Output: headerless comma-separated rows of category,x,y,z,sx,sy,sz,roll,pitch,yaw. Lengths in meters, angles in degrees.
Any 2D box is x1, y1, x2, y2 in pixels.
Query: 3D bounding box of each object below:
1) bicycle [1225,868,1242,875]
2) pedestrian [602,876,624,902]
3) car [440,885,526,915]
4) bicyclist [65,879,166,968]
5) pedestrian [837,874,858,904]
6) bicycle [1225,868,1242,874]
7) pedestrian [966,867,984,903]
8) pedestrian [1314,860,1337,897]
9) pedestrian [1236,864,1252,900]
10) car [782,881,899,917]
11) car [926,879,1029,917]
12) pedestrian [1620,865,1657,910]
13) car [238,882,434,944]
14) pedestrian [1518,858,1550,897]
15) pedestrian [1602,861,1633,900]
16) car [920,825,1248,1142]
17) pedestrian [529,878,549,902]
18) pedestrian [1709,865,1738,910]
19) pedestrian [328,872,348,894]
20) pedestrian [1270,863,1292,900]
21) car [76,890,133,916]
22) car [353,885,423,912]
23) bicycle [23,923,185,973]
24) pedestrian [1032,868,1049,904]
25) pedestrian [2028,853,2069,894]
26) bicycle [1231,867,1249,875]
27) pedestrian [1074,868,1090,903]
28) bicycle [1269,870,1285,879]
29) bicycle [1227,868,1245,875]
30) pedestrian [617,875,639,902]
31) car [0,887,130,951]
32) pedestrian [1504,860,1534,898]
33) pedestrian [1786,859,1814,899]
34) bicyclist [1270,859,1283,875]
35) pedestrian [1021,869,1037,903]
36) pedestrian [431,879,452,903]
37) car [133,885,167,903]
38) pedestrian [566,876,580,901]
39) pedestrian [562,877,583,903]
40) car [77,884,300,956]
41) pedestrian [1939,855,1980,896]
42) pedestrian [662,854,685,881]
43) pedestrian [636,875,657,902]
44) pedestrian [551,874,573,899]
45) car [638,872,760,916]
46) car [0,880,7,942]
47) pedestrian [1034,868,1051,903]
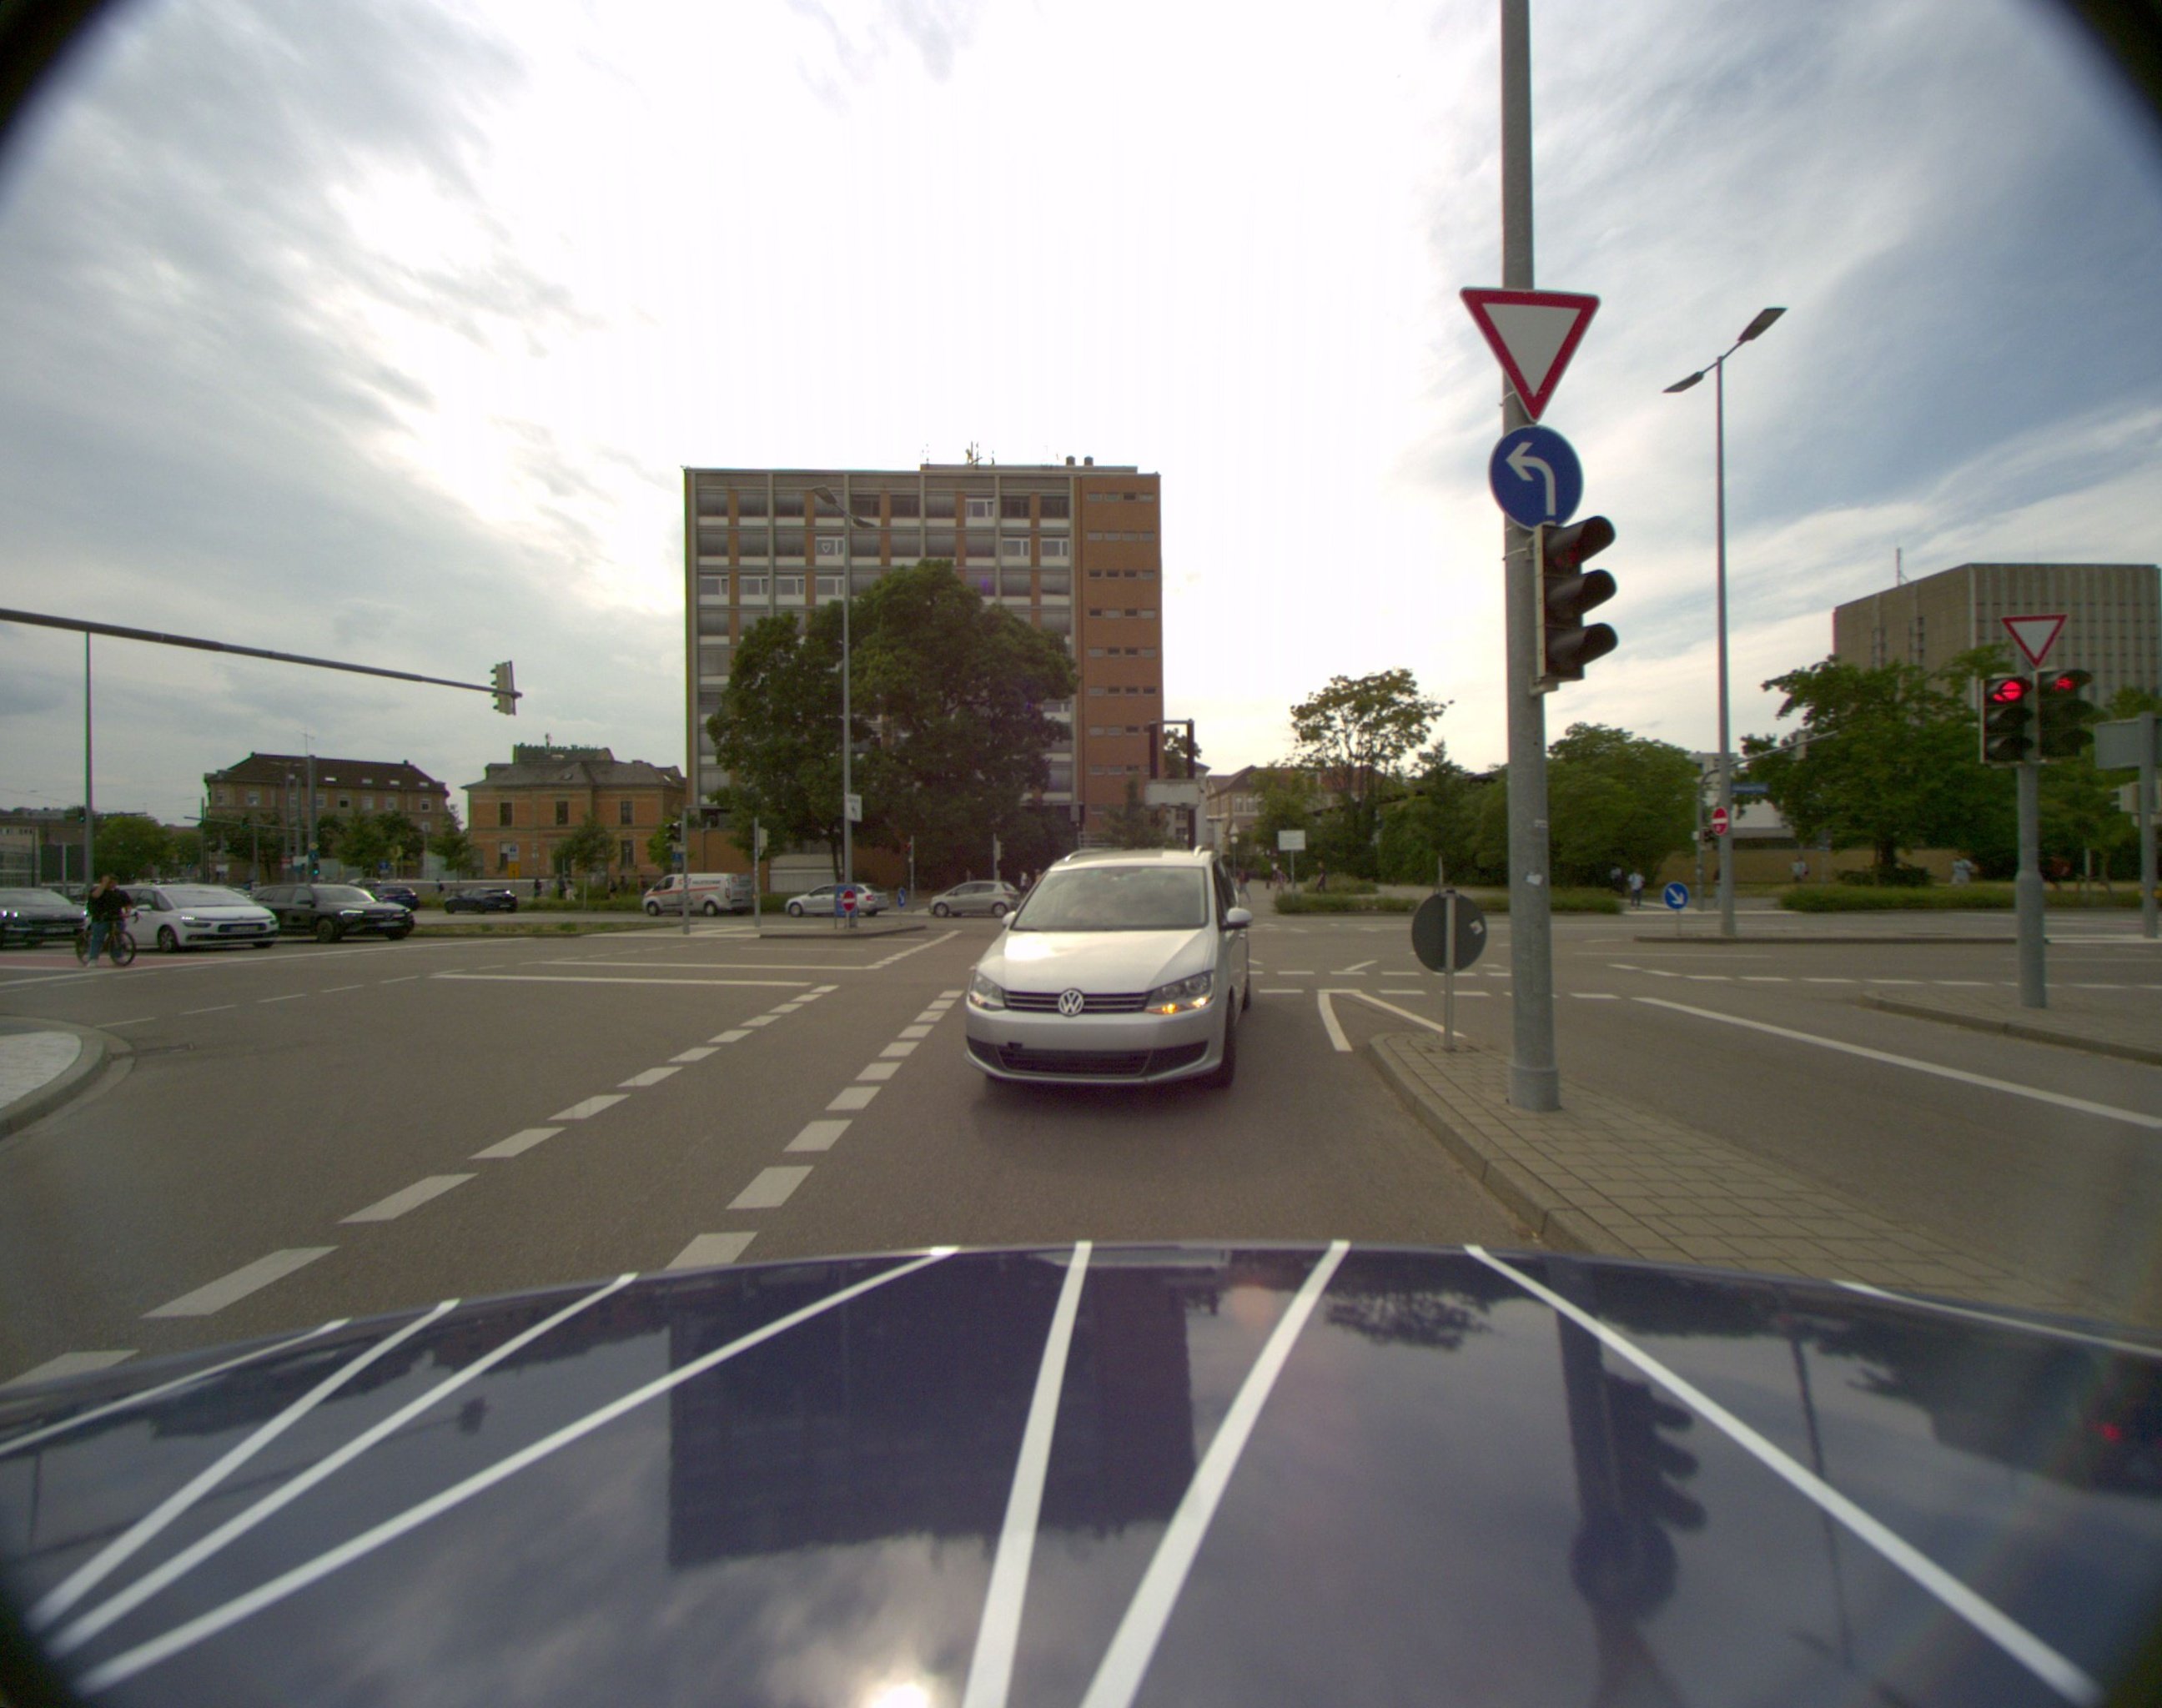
bicycle,16.708,1.928,83.243,1.842,0.689,0.653,-1,-2,10
pedestrian,-28.758,2.150,46.694,0.810,1.565,0.782,-1,1,28
car,-32.073,2.477,40.765,3.993,1.523,1.867,-2,-2,21
bicyclist,-18.620,1.327,14.667,0.879,1.658,0.871,-1,-2,11
pedestrian,-12.695,1.911,41.350,0.811,1.565,0.780,-1,1,5
bicycle,17.092,1.913,85.061,1.842,0.689,0.653,-1,-2,10
pedestrian,-5.441,1.584,39.041,0.707,1.841,0.640,-1,0,5
pedestrian,11.594,1.159,36.048,0.799,1.700,0.840,-1,-2,5
pedestrian,7.768,1.342,36.194,0.633,1.700,0.674,-1,-2,5
car,-10.374,1.954,32.892,4.520,1.465,1.828,-2,-2,14
car,-4.243,1.827,31.378,3.868,1.480,1.674,-2,-2,14
pedestrian,21.658,1.302,29.536,0.838,1.700,0.800,-1,-2,7
car,-21.107,1.649,21.575,4.503,1.640,2.003,-2,-2,16
pedestrian,20.011,1.030,33.566,0.800,1.700,0.839,-1,-2,-13
pedestrian,23.850,1.170,33.774,0.799,1.700,0.715,-1,-2,-1
car,0.450,0.815,6.556,1.822,1.723,4.535,-2,-3,13
pedestrian,-36.018,2.380,50.511,0.810,1.565,0.782,-1,1,28
pedestrian,24.145,1.259,28.565,0.587,1.700,0.481,-1,-2,7
pedestrian,-53.811,2.072,55.006,0.810,1.565,0.782,-1,1,28
pedestrian,9.309,1.294,35.364,0.799,1.700,0.840,-1,-2,5
car,-65.813,3.292,51.204,4.674,1.640,1.764,-2,-3,31
car,-40.269,2.607,44.147,3.625,1.498,1.675,-2,-3,24
bicycle,-18.851,1.809,14.673,2.515,0.871,0.866,-2,-2,11
pedestrian,-1.956,1.540,36.713,0.707,1.701,0.640,-1,1,5
pedestrian,40.968,0.833,32.183,0.694,1.700,0.715,-1,-2,2
bicycle,16.407,1.766,78.454,1.842,0.689,0.668,-1,-2,10
pedestrian,0.051,1.558,37.817,0.707,1.701,0.640,-1,2,5
bicycle,16.098,1.694,62.510,0.841,0.689,1.849,-2,-3,29
bicycle,16.334,1.854,80.097,1.842,0.689,0.653,-1,-2,10
pedestrian,-26.852,2.042,45.057,0.810,1.565,0.781,-1,1,24
car,-28.990,1.759,20.904,4.282,1.640,2.003,-2,-2,16
pedestrian,19.854,1.138,34.455,0.800,1.700,0.839,-1,-2,-13
pedestrian,31.152,1.081,32.935,0.694,1.686,0.544,-1,1,-1
bicyclist,16.066,1.039,62.494,0.837,1.269,1.015,-2,-2,26
pedestrian,-2.637,1.600,38.587,0.707,1.701,0.640,-1,0,5
pedestrian,-42.282,2.455,50.255,0.810,1.565,0.782,-1,1,28
car,-85.825,3.712,70.024,3.537,1.605,1.845,-3,-3,37
pedestrian,-32.046,2.161,47.920,0.550,1.527,0.548,-2,1,-18
pedestrian,-31.943,2.253,47.751,0.810,1.565,0.782,-1,1,28
car,-22.147,1.616,18.901,4.282,1.640,2.003,-2,-2,16
pedestrian,37.396,0.931,32.362,0.694,1.700,0.842,-1,-2,-1
pedestrian,-23.924,0.767,44.630,0.810,1.565,0.781,-1,1,24
pedestrian,-26.491,2.092,46.329,0.810,1.565,0.781,-1,1,24
pedestrian,-33.082,2.083,48.430,0.810,1.565,0.782,-1,1,28
car,-17.678,1.859,35.163,5.194,1.947,1.828,-2,-2,16
car,-35.302,1.770,22.929,4.282,1.886,2.003,-2,-2,16
pedestrian,-1.887,1.538,37.452,0.707,1.700,0.640,-1,-2,5
